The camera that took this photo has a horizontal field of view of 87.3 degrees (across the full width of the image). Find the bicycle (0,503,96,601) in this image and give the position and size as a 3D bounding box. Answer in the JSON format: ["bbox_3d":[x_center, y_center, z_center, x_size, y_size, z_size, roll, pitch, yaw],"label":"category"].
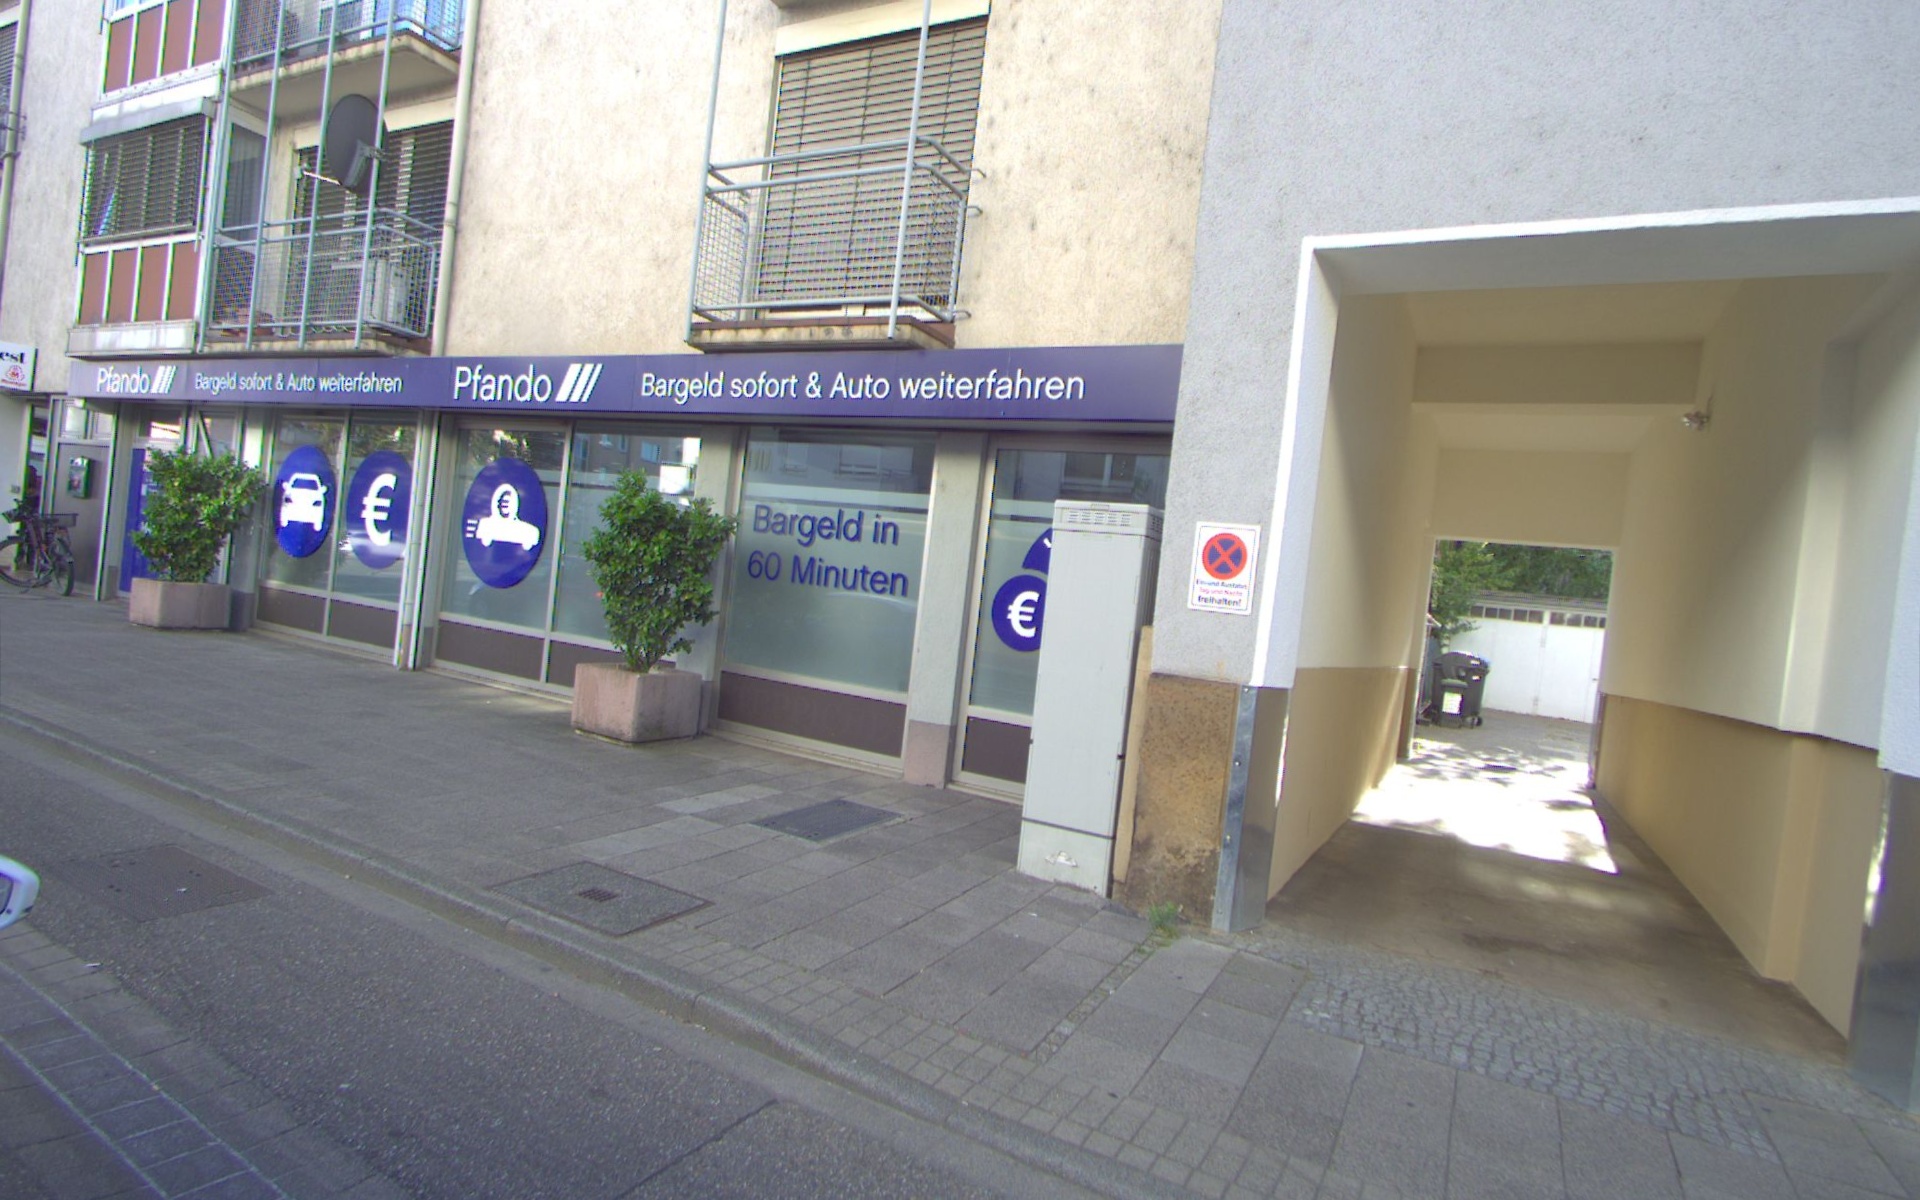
[{"bbox_3d":[-11.829,-0.634,12.857,1.779,1.086,0.531,7,1,28],"label":"bicycle"}]
